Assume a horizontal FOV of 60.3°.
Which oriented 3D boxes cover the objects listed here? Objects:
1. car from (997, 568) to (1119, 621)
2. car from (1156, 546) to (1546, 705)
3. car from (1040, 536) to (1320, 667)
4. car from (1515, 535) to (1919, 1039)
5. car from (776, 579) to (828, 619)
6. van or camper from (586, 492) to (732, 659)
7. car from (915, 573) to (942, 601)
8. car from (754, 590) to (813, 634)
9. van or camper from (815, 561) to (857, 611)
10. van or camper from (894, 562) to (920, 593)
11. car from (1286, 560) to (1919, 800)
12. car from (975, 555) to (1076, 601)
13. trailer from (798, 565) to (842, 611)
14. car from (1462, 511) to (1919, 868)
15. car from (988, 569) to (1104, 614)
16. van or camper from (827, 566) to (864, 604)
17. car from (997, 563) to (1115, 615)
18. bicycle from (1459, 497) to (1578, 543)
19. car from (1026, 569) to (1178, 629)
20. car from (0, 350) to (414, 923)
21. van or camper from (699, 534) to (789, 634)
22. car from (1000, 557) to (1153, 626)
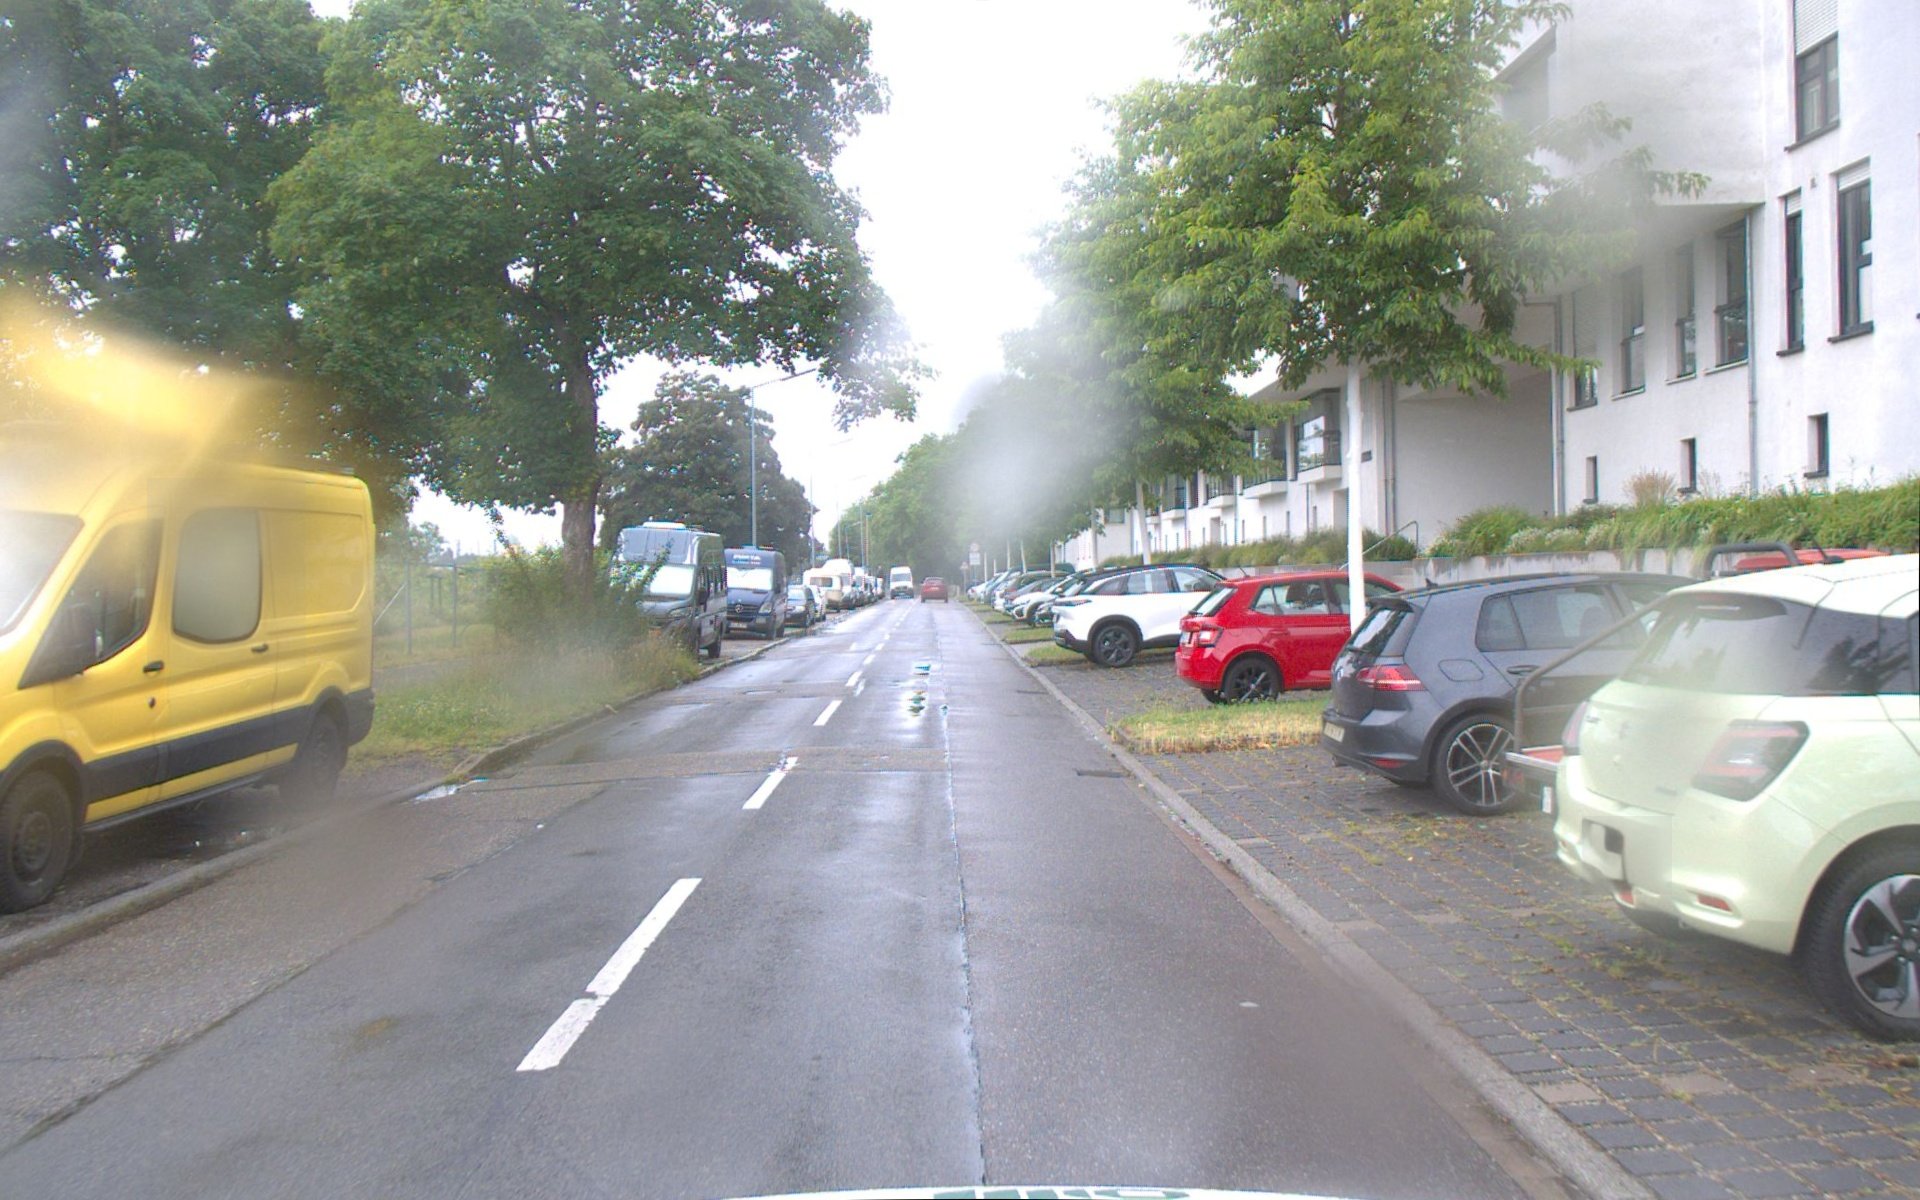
[{"bbox_3d":[3.264,-0.200,55.472,3.907,1.536,1.684,-3,2,-2],"label":"car"},{"bbox_3d":[4.340,0.282,18.790,3.907,1.476,1.820,-4,-1,-2],"label":"car"},{"bbox_3d":[3.793,0.012,28.963,4.452,1.714,1.884,-6,1,-4],"label":"car"},{"bbox_3d":[4.546,0.454,6.047,4.397,1.507,1.692,-4,0,-2],"label":"car"},{"bbox_3d":[-6.568,-0.069,69.185,1.849,1.552,5.108,1,1,-2],"label":"car"},{"bbox_3d":[-6.223,-0.471,34.949,2.052,3.148,6.421,1,0,-2],"label":"van or camper"},{"bbox_3d":[-2.102,-0.881,110.872,1.720,1.735,4.000,-2,1,-1],"label":"car"},{"bbox_3d":[-6.594,0.420,62.332,1.738,1.529,4.827,1,1,-1],"label":"car"},{"bbox_3d":[-7.272,-0.826,97.434,1.953,2.810,7.897,0,0,-1],"label":"van or camper"},{"bbox_3d":[-4.529,-1.896,142.118,1.953,2.540,7.178,-2,1,0],"label":"van or camper"},{"bbox_3d":[4.341,0.495,11.335,3.878,1.500,1.591,0,0,-4],"label":"car"},{"bbox_3d":[3.061,-1.041,77.993,4.527,2.055,1.856,-1,0,-5],"label":"car"},{"bbox_3d":[-7.171,-0.638,85.049,2.017,2.256,5.792,0,1,-3],"label":"trailer"},{"bbox_3d":[4.898,0.338,8.741,3.907,1.582,1.634,-4,0,-1],"label":"car"},{"bbox_3d":[3.266,-0.340,62.978,4.214,1.453,1.636,-3,1,-3],"label":"car"},{"bbox_3d":[-7.699,-1.008,111.570,2.145,2.504,6.376,0,0,-1],"label":"van or camper"},{"bbox_3d":[3.489,-0.420,60.663,4.080,1.652,1.896,-3,1,-4],"label":"car"},{"bbox_3d":[14.608,-2.081,43.321,2.893,1.138,0.916,0,0,15],"label":"bicycle"},{"bbox_3d":[3.906,-0.044,45.892,3.909,1.521,1.935,-1,1,-5],"label":"car"},{"bbox_3d":[-5.631,0.133,10.598,2.146,2.741,6.082,1,1,1],"label":"car"},{"bbox_3d":[-6.491,-0.458,50.502,2.052,2.763,7.570,1,0,-3],"label":"van or camper"},{"bbox_3d":[3.546,-0.272,50.724,4.388,1.716,1.935,-5,1,-3],"label":"car"}]
